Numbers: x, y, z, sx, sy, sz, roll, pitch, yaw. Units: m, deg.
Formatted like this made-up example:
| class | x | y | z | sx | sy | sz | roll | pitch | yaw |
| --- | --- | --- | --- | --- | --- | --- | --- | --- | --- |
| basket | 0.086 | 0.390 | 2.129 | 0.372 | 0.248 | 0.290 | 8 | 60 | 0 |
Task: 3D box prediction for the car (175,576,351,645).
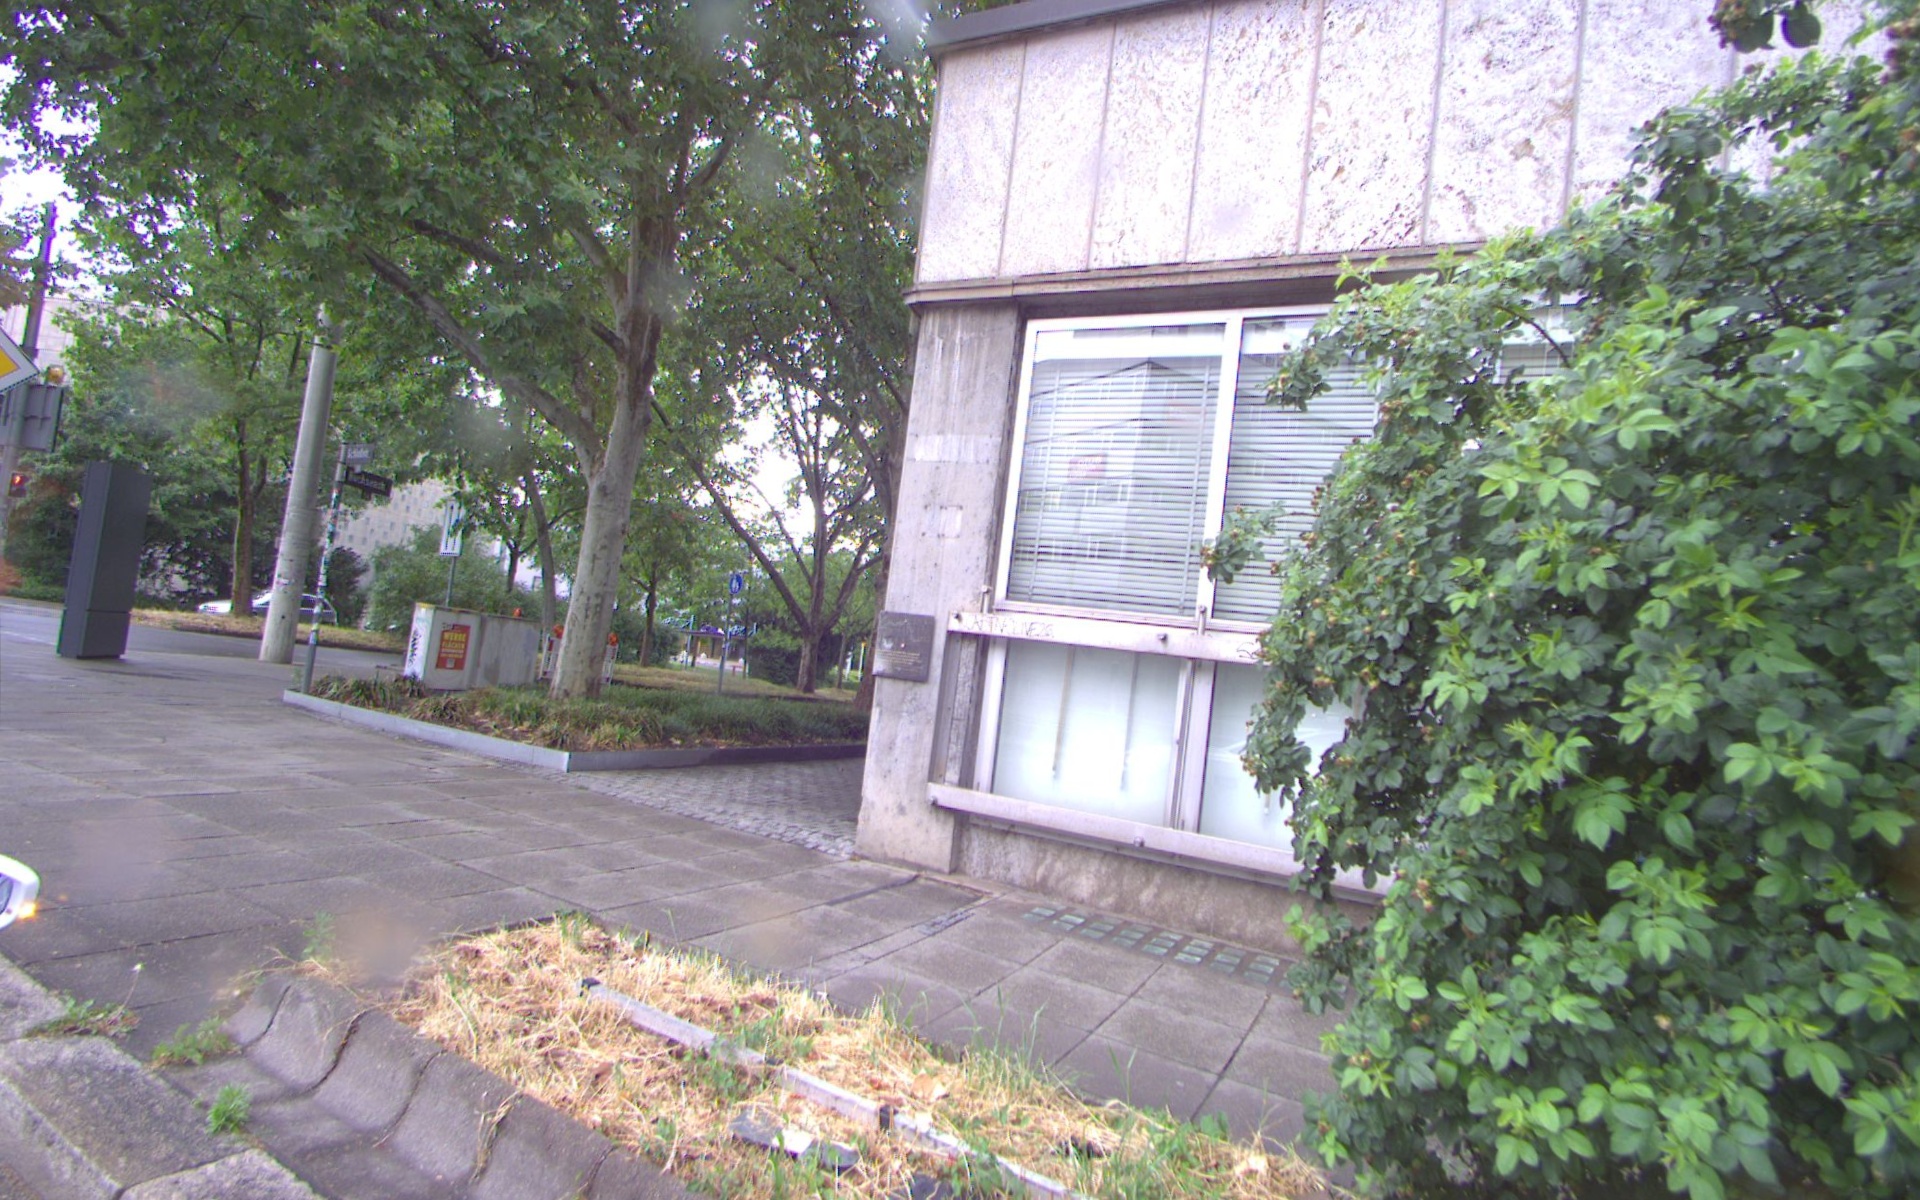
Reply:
| class | x | y | z | sx | sy | sz | roll | pitch | yaw |
| --- | --- | --- | --- | --- | --- | --- | --- | --- | --- |
| car | -22.017 | 0.383 | 31.963 | 1.965 | 1.456 | 4.007 | 6 | -6 | 25 |
